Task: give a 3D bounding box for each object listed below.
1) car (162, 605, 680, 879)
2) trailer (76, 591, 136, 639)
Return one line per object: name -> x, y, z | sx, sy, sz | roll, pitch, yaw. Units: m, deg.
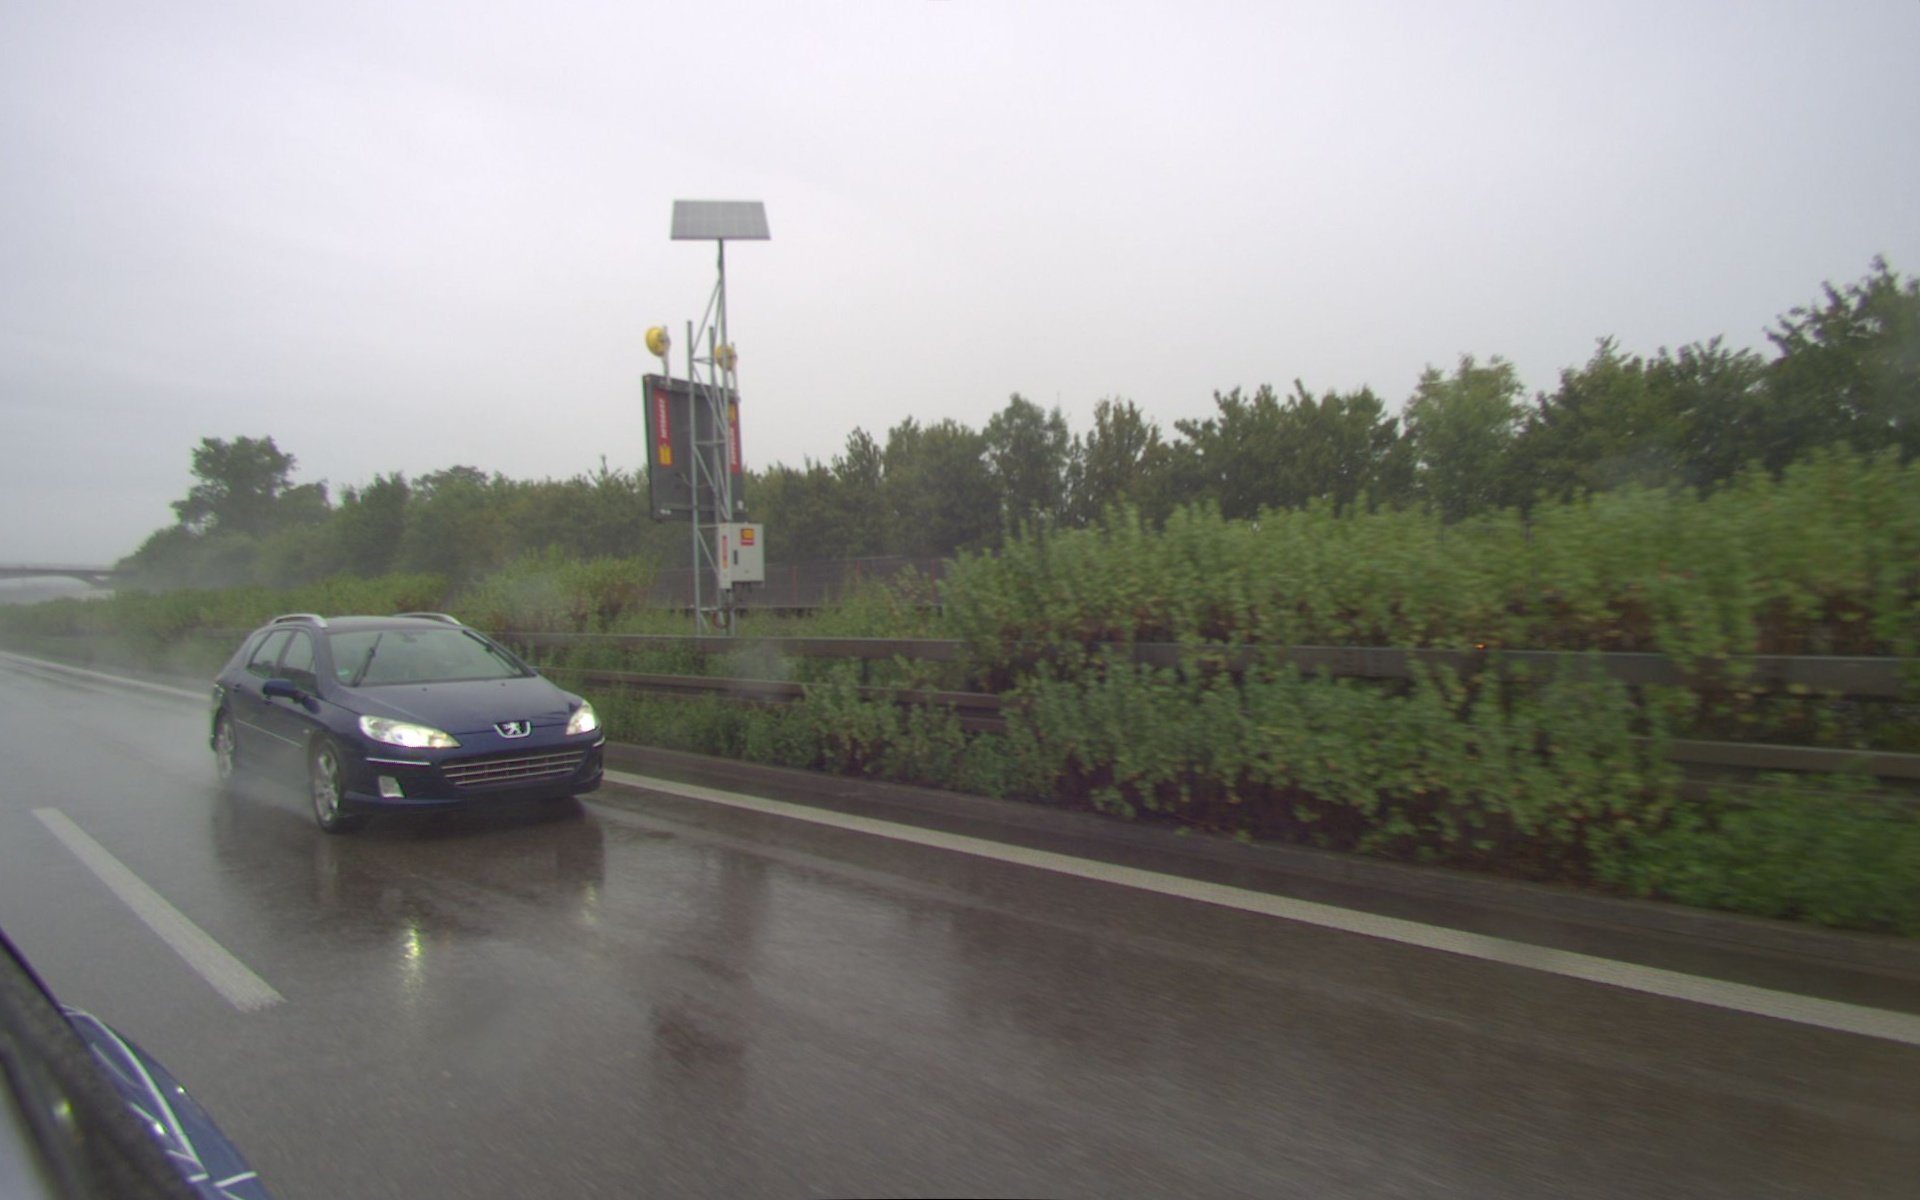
car -> -4.554, 0.825, 8.083 | 5.157, 1.496, 2.032 | -1, -1, 42
trailer -> -91.406, 1.601, 108.168 | 3.824, 4.731, 15.037 | 0, -1, -44
